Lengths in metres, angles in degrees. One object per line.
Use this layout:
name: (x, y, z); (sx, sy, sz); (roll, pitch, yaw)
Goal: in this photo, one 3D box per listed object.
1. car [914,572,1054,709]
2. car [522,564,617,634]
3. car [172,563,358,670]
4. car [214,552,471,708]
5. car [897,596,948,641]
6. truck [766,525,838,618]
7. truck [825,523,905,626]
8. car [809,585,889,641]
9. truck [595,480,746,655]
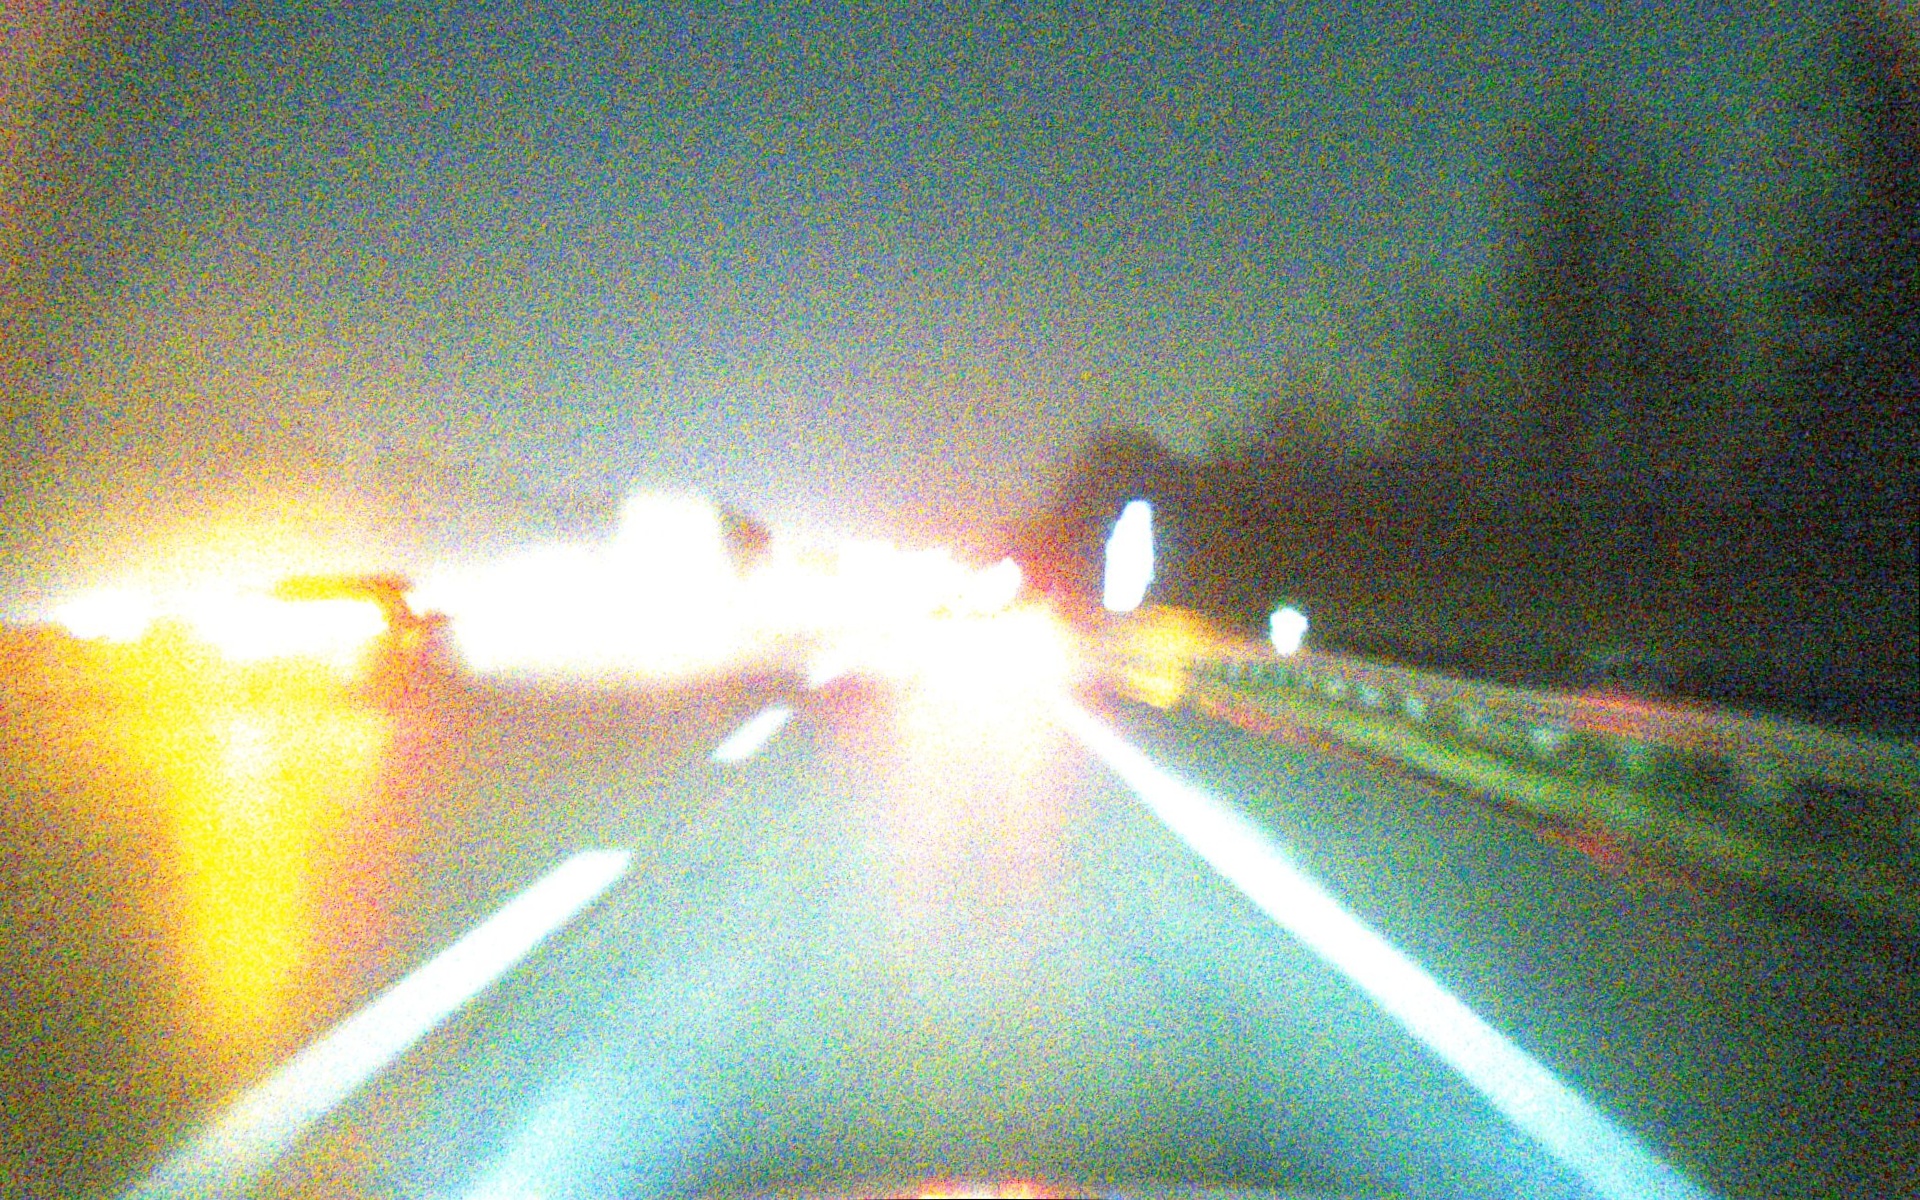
car: (0.330, 0.535, 24.182); (1.839, 1.793, 4.000); (1, 0, 0)
car: (-12.615, -0.047, 53.798); (2.081, 2.141, 5.625); (1, 0, -4)
car: (-11.967, 0.233, 28.742); (1.730, 1.718, 3.998); (1, 1, -3)
car: (-7.902, 0.349, 21.659); (1.999, 1.792, 4.510); (1, 0, -6)
car: (-1.480, 0.715, 66.722); (1.953, 1.733, 4.458); (1, 0, 0)
truck: (-9.973, -1.763, 105.761); (4.170, 5.539, 10.875); (1, 0, -4)
truck: (-5.233, -1.327, 91.773); (4.079, 5.306, 9.948); (1, 0, -3)
car: (-4.339, 0.482, 65.757); (2.775, 2.049, 5.510); (1, 0, 0)
truck: (-8.728, -0.913, 51.228); (3.584, 4.820, 9.843); (1, 0, -5)
